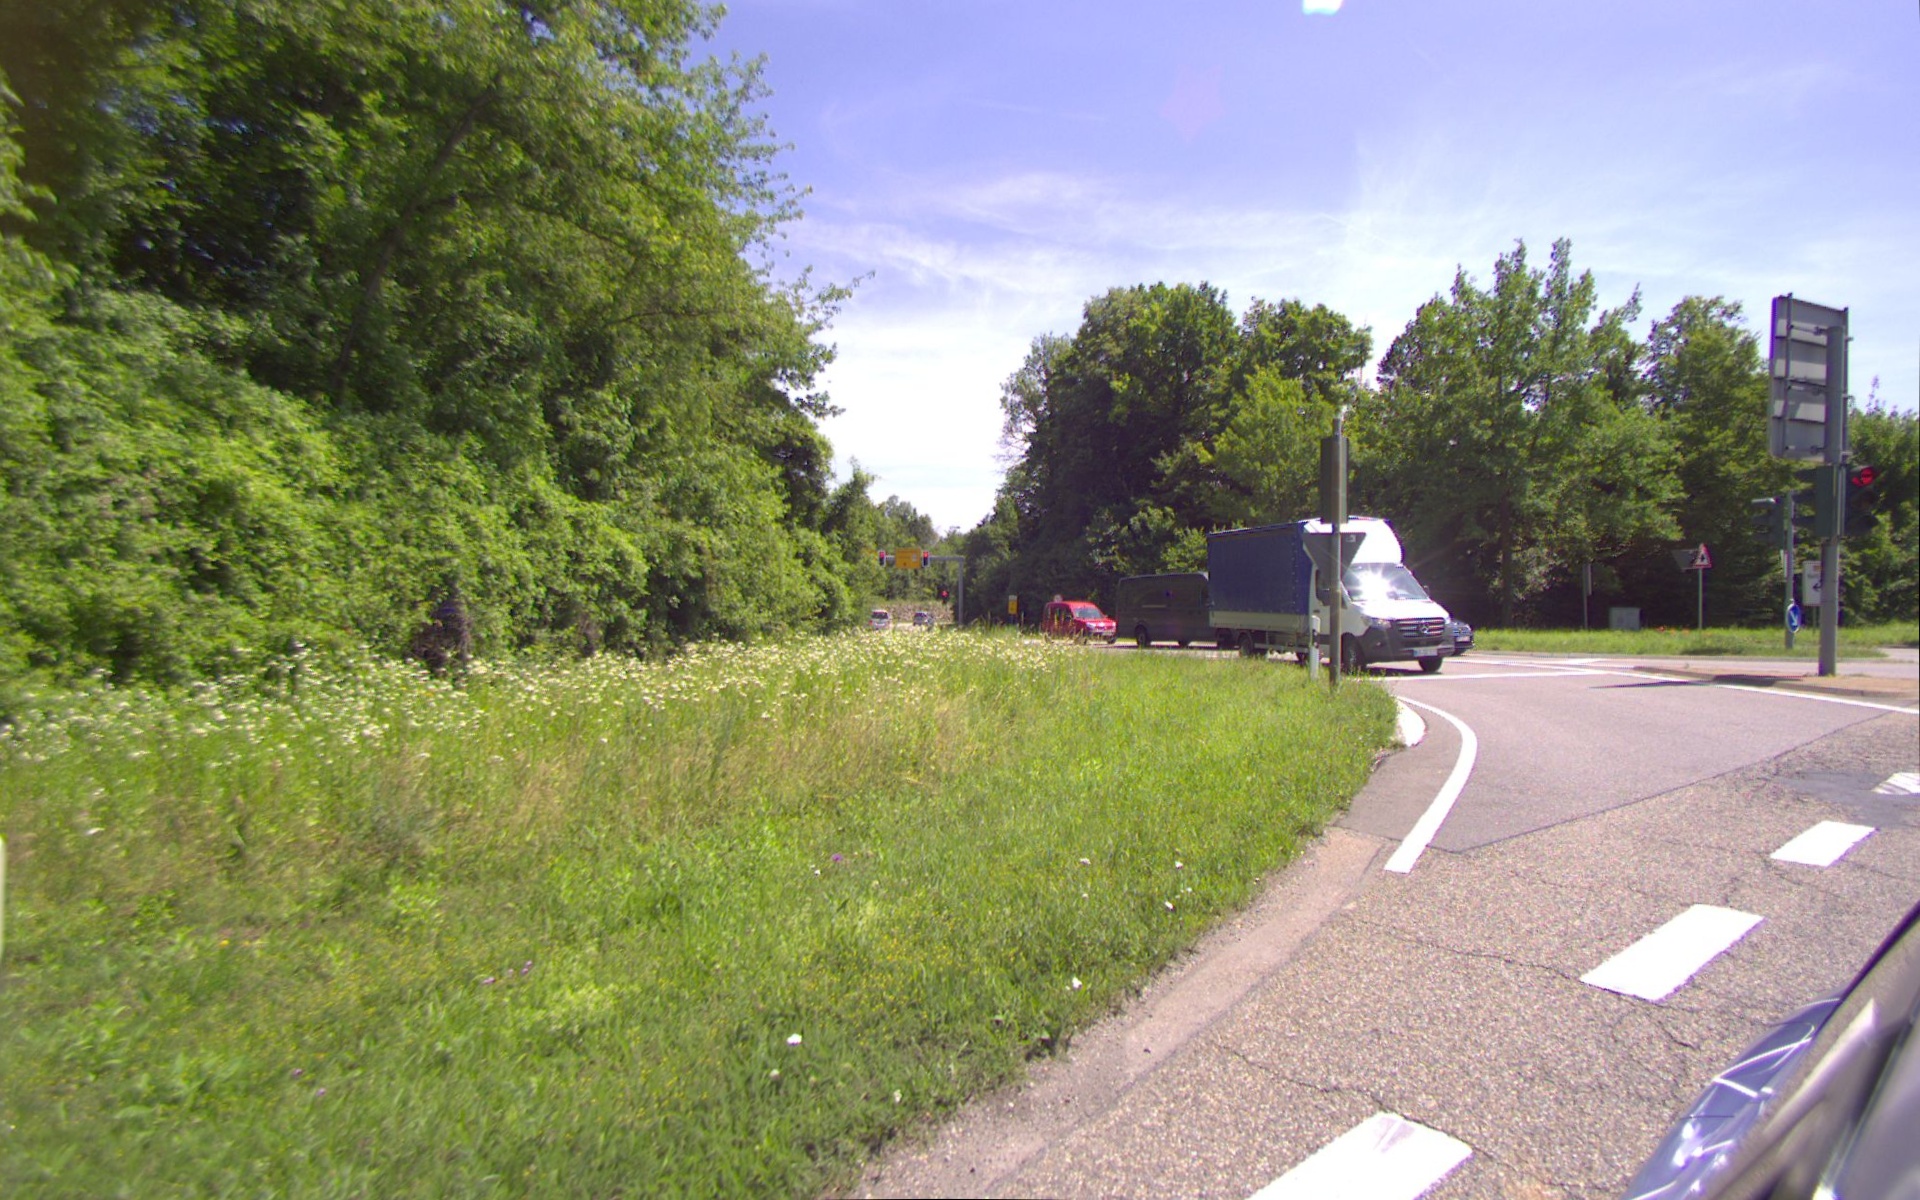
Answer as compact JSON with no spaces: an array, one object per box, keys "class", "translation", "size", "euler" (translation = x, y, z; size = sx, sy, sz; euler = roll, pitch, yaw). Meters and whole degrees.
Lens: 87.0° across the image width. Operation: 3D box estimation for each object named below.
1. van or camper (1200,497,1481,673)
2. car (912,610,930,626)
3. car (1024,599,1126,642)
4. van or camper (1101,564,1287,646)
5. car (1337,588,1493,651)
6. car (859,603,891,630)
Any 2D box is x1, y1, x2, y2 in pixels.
[{"class":"van or camper","translation":[7.984,-0.309,22.463],"size":[2.060,3.252,7.267],"euler":[-1,0,-13]},{"class":"car","translation":[-4.351,1.982,112.774],"size":[1.961,1.683,4.000],"euler":[-1,0,-1]},{"class":"car","translation":[4.678,0.819,42.052],"size":[1.812,1.627,5.130],"euler":[-1,0,-24]},{"class":"van or camper","translation":[7.770,0.229,34.751],"size":[2.359,2.509,7.247],"euler":[0,-1,-23]},{"class":"car","translation":[11.734,0.502,26.293],"size":[1.655,1.484,3.363],"euler":[-1,-1,-26]},{"class":"car","translation":[-6.683,1.234,79.407],"size":[1.958,2.039,4.007],"euler":[0,0,-12]}]
